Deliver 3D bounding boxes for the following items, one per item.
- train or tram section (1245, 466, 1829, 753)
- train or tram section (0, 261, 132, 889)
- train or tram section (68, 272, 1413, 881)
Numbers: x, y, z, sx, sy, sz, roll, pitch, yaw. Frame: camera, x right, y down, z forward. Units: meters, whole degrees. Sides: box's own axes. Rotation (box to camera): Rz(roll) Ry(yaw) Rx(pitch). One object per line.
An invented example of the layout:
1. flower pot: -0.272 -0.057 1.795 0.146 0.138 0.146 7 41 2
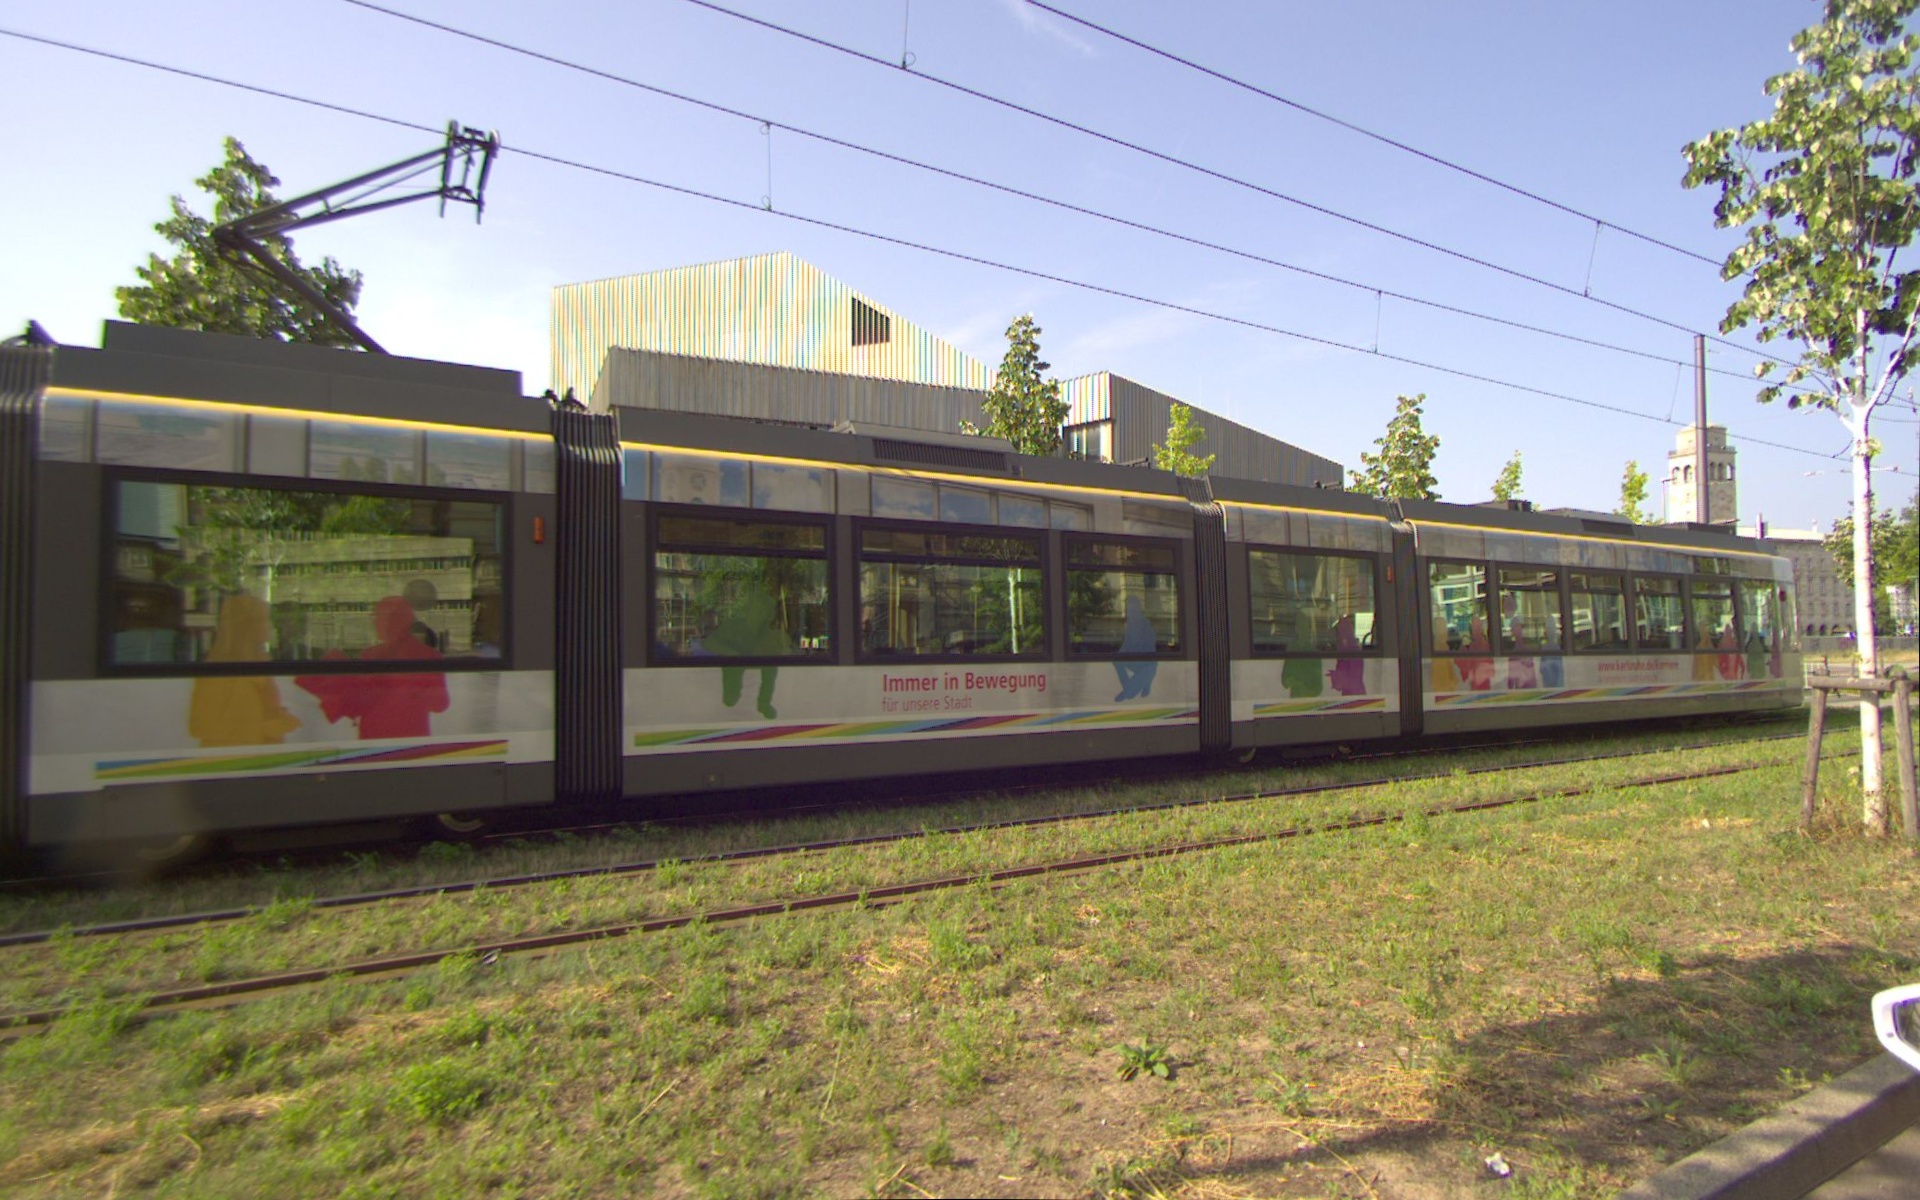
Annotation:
1. train or tram section: 10.248 0.332 16.978 12.080 3.633 2.885 2 -3 -30
2. train or tram section: -11.474 -0.269 3.883 12.335 3.633 2.884 2 -3 -31
3. train or tram section: -0.512 0.075 10.555 12.786 3.633 2.884 2 -3 -31
